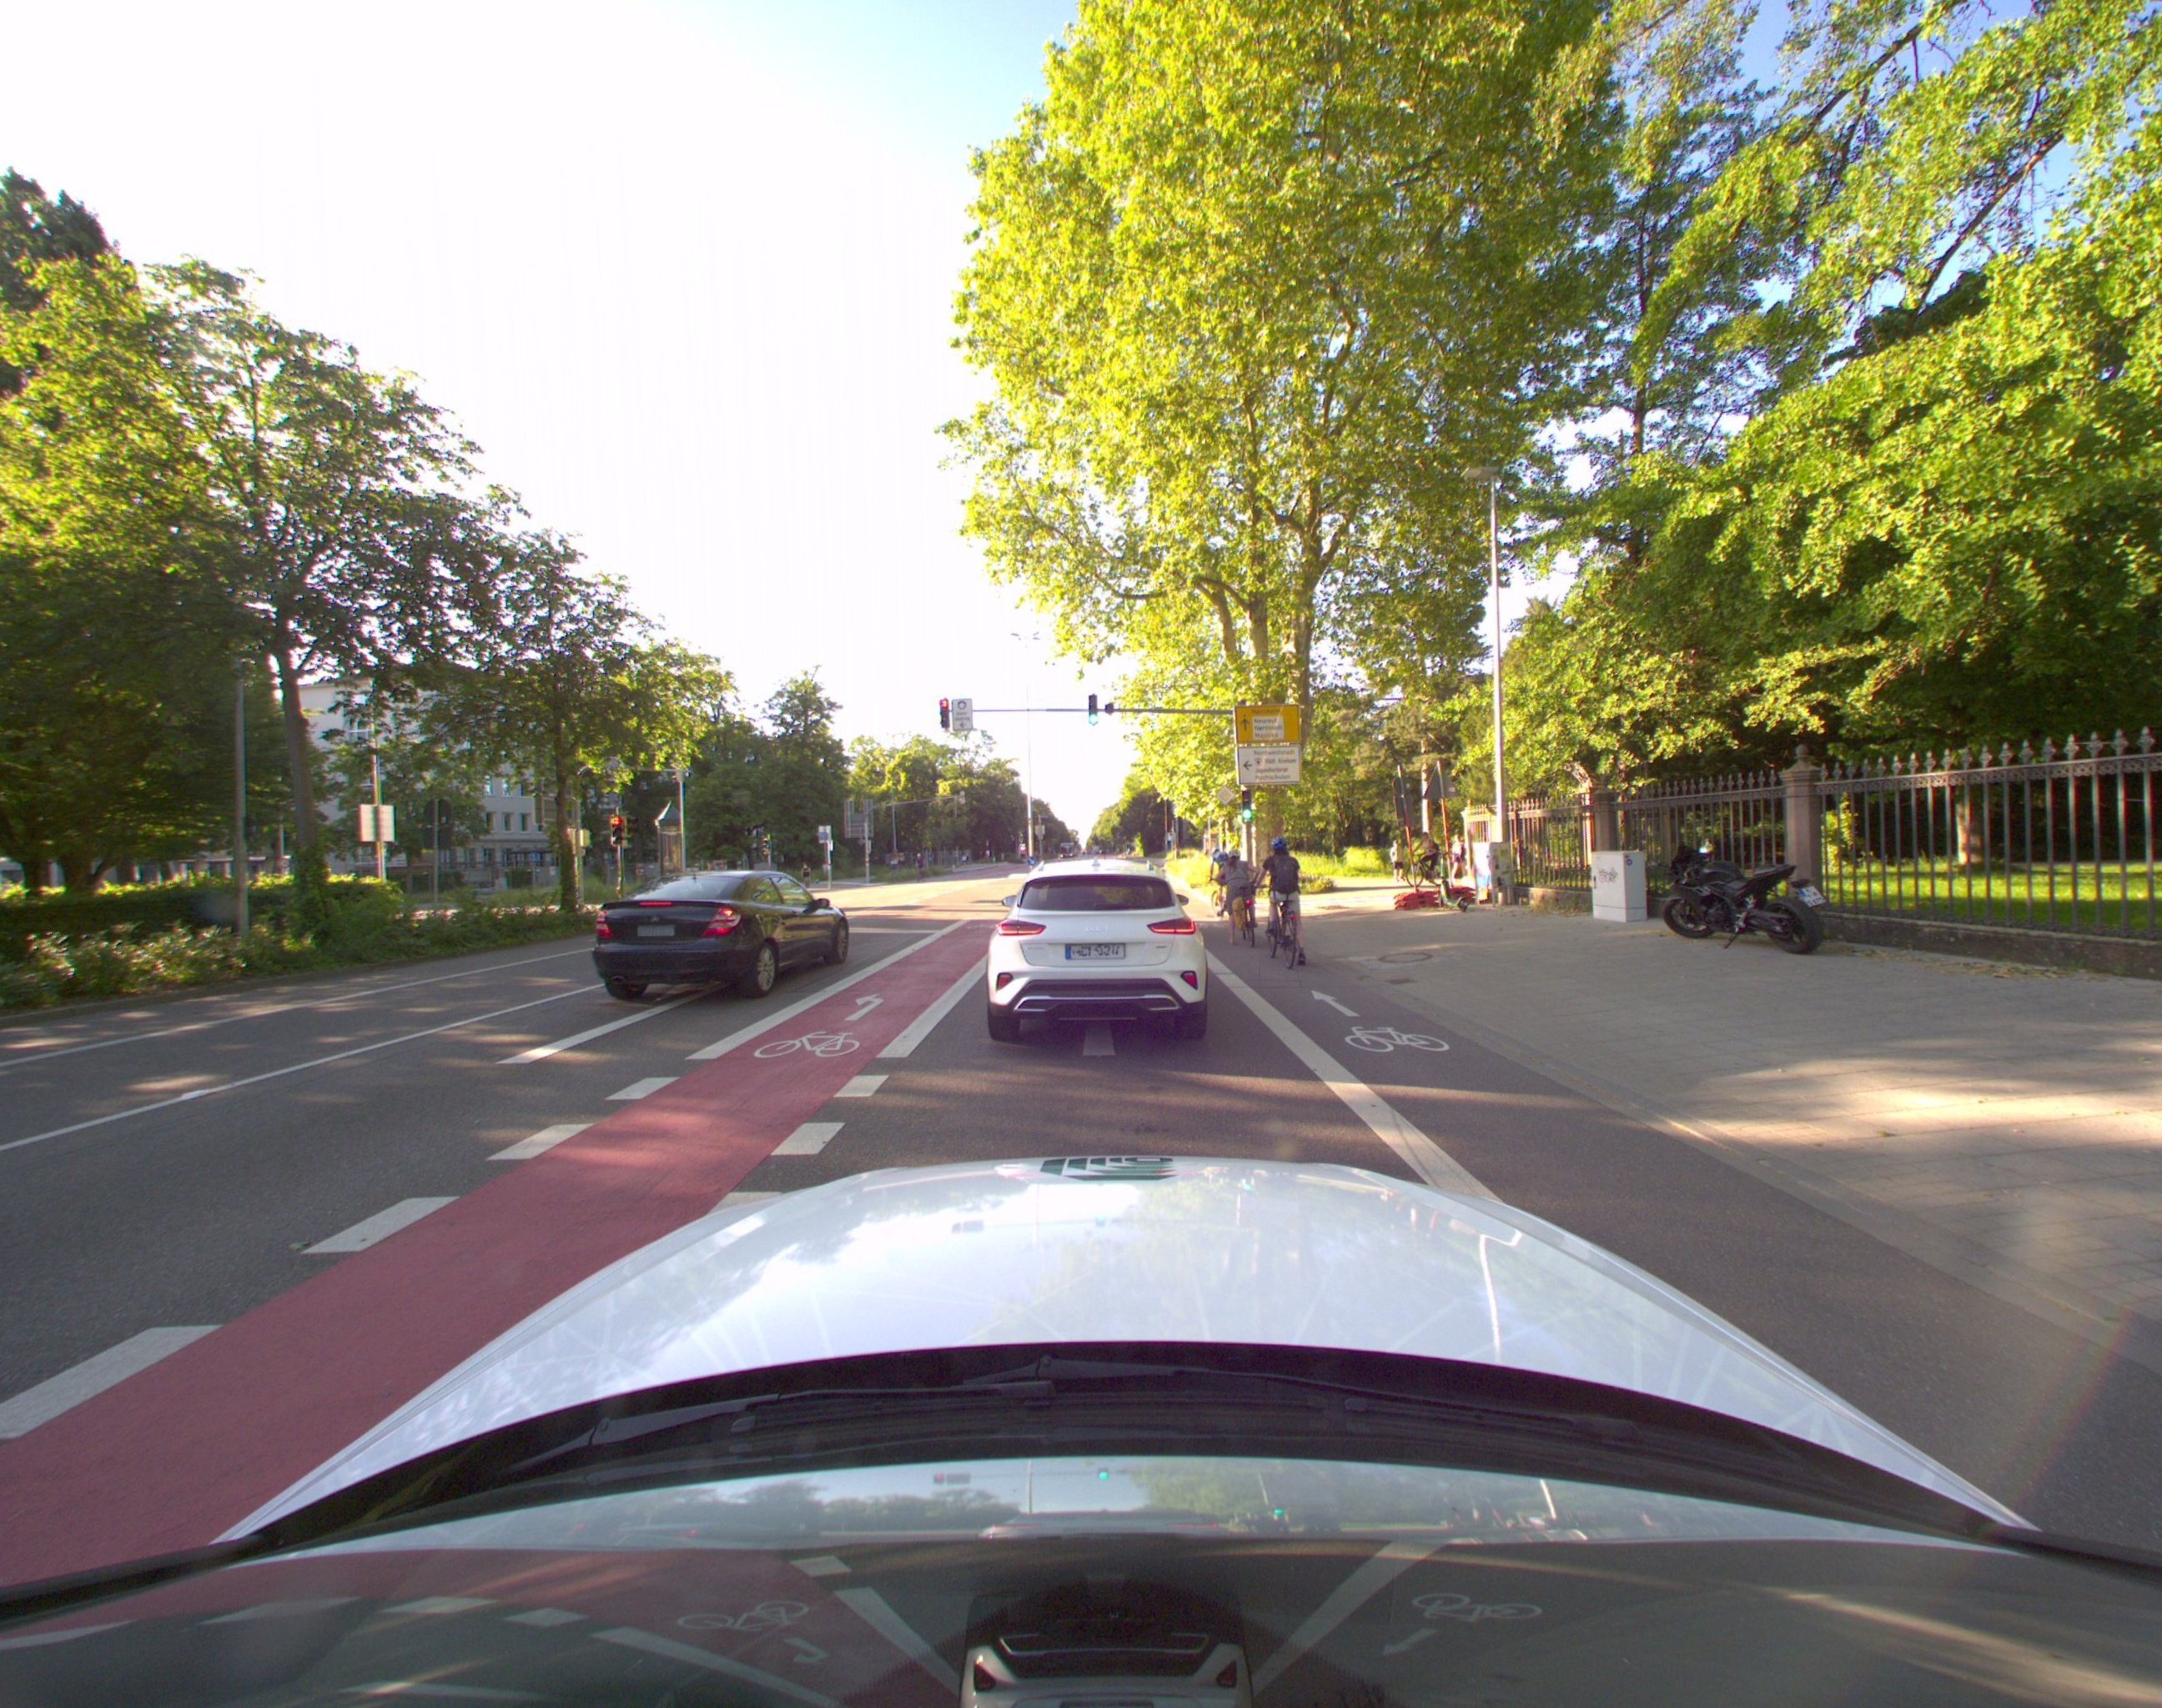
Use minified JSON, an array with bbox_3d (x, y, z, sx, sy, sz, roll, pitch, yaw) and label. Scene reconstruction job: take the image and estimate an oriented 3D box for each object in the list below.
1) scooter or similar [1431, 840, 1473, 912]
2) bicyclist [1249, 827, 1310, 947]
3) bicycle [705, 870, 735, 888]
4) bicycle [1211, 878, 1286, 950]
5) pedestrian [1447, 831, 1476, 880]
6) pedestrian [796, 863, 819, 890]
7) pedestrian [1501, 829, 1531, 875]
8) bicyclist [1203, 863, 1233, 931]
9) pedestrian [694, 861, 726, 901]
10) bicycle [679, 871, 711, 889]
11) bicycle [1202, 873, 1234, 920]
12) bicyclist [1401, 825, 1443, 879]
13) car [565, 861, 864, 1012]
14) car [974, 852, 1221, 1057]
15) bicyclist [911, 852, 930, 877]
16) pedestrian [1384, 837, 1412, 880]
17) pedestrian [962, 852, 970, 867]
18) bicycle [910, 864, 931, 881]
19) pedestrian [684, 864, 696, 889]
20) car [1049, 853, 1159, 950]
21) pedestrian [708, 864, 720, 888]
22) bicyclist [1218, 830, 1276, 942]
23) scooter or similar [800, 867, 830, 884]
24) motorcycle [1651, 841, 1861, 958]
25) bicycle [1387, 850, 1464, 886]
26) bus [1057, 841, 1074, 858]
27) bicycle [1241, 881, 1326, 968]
[{"bbox_3d":[7.175,0.404,15.796,0.227,1.327,1.172,-3,0,0],"label":"scooter or similar"},{"bbox_3d":[2.748,0.444,11.320,0.663,1.602,0.721,-1,0,0],"label":"bicyclist"},{"bbox_3d":[-24.226,1.696,54.678,1.859,1.148,0.290,-1,-1,-6],"label":"bicycle"},{"bbox_3d":[2.768,0.952,13.736,0.755,1.013,2.569,0,0,0],"label":"bicycle"},{"bbox_3d":[13.338,0.064,28.572,0.686,1.699,0.644,-1,-1,1],"label":"pedestrian"},{"bbox_3d":[-17.172,1.400,51.093,1.086,1.603,0.999,-3,0,-5],"label":"pedestrian"},{"bbox_3d":[15.935,-0.070,29.857,0.819,1.681,0.696,-2,-1,15],"label":"pedestrian"},{"bbox_3d":[3.072,0.946,18.326,0.552,1.478,0.717,-1,-1,1],"label":"bicyclist"},{"bbox_3d":[-18.846,1.359,41.367,0.990,2.014,1.193,-1,-1,7],"label":"pedestrian"},{"bbox_3d":[-26.090,1.743,55.042,1.859,1.148,0.442,-1,-1,-6],"label":"bicycle"},{"bbox_3d":[3.079,0.937,18.452,0.400,0.956,1.551,-5,0,0],"label":"bicycle"},{"bbox_3d":[10.516,-0.069,25.137,0.847,1.613,0.733,-3,0,-11],"label":"bicyclist"},{"bbox_3d":[-4.284,0.852,10.382,1.698,1.405,4.266,-3,0,2],"label":"car"},{"bbox_3d":[0.141,0.746,8.069,1.815,1.480,3.936,-1,0,0],"label":"car"},{"bbox_3d":[-10.462,0.671,53.100,0.871,1.608,1.189,-3,0,4],"label":"bicyclist"},{"bbox_3d":[11.641,0.162,29.906,0.810,1.518,0.922,-1,-1,28],"label":"pedestrian"},{"bbox_3d":[-13.638,0.668,96.338,0.782,1.785,0.751,-1,-1,2],"label":"pedestrian"},{"bbox_3d":[-10.439,1.171,53.118,0.660,0.989,2.507,-3,0,4],"label":"bicycle"},{"bbox_3d":[-26.339,1.519,54.870,0.628,1.642,0.444,-1,-1,-8],"label":"pedestrian"},{"bbox_3d":[0.383,0.774,15.063,1.723,1.483,3.516,-3,0,0],"label":"car"},{"bbox_3d":[-24.607,1.476,54.555,0.628,1.580,0.444,-1,-1,-8],"label":"pedestrian"},{"bbox_3d":[2.768,0.505,13.667,0.750,1.795,1.165,0,0,0],"label":"bicyclist"},{"bbox_3d":[-18.567,1.495,56.948,0.703,1.124,1.933,-1,-1,34],"label":"scooter or similar"},{"bbox_3d":[7.458,0.459,9.166,0.504,1.131,2.170,-4,0,0],"label":"motorcycle"},{"bbox_3d":[10.626,0.421,25.151,2.094,0.976,0.747,-3,0,-11],"label":"bicycle"},{"bbox_3d":[-3.540,-1.002,188.951,3.731,3.673,13.233,-2,0,-1],"label":"bus"},{"bbox_3d":[2.753,0.919,11.296,0.666,1.009,2.081,-1,0,0],"label":"bicycle"}]
